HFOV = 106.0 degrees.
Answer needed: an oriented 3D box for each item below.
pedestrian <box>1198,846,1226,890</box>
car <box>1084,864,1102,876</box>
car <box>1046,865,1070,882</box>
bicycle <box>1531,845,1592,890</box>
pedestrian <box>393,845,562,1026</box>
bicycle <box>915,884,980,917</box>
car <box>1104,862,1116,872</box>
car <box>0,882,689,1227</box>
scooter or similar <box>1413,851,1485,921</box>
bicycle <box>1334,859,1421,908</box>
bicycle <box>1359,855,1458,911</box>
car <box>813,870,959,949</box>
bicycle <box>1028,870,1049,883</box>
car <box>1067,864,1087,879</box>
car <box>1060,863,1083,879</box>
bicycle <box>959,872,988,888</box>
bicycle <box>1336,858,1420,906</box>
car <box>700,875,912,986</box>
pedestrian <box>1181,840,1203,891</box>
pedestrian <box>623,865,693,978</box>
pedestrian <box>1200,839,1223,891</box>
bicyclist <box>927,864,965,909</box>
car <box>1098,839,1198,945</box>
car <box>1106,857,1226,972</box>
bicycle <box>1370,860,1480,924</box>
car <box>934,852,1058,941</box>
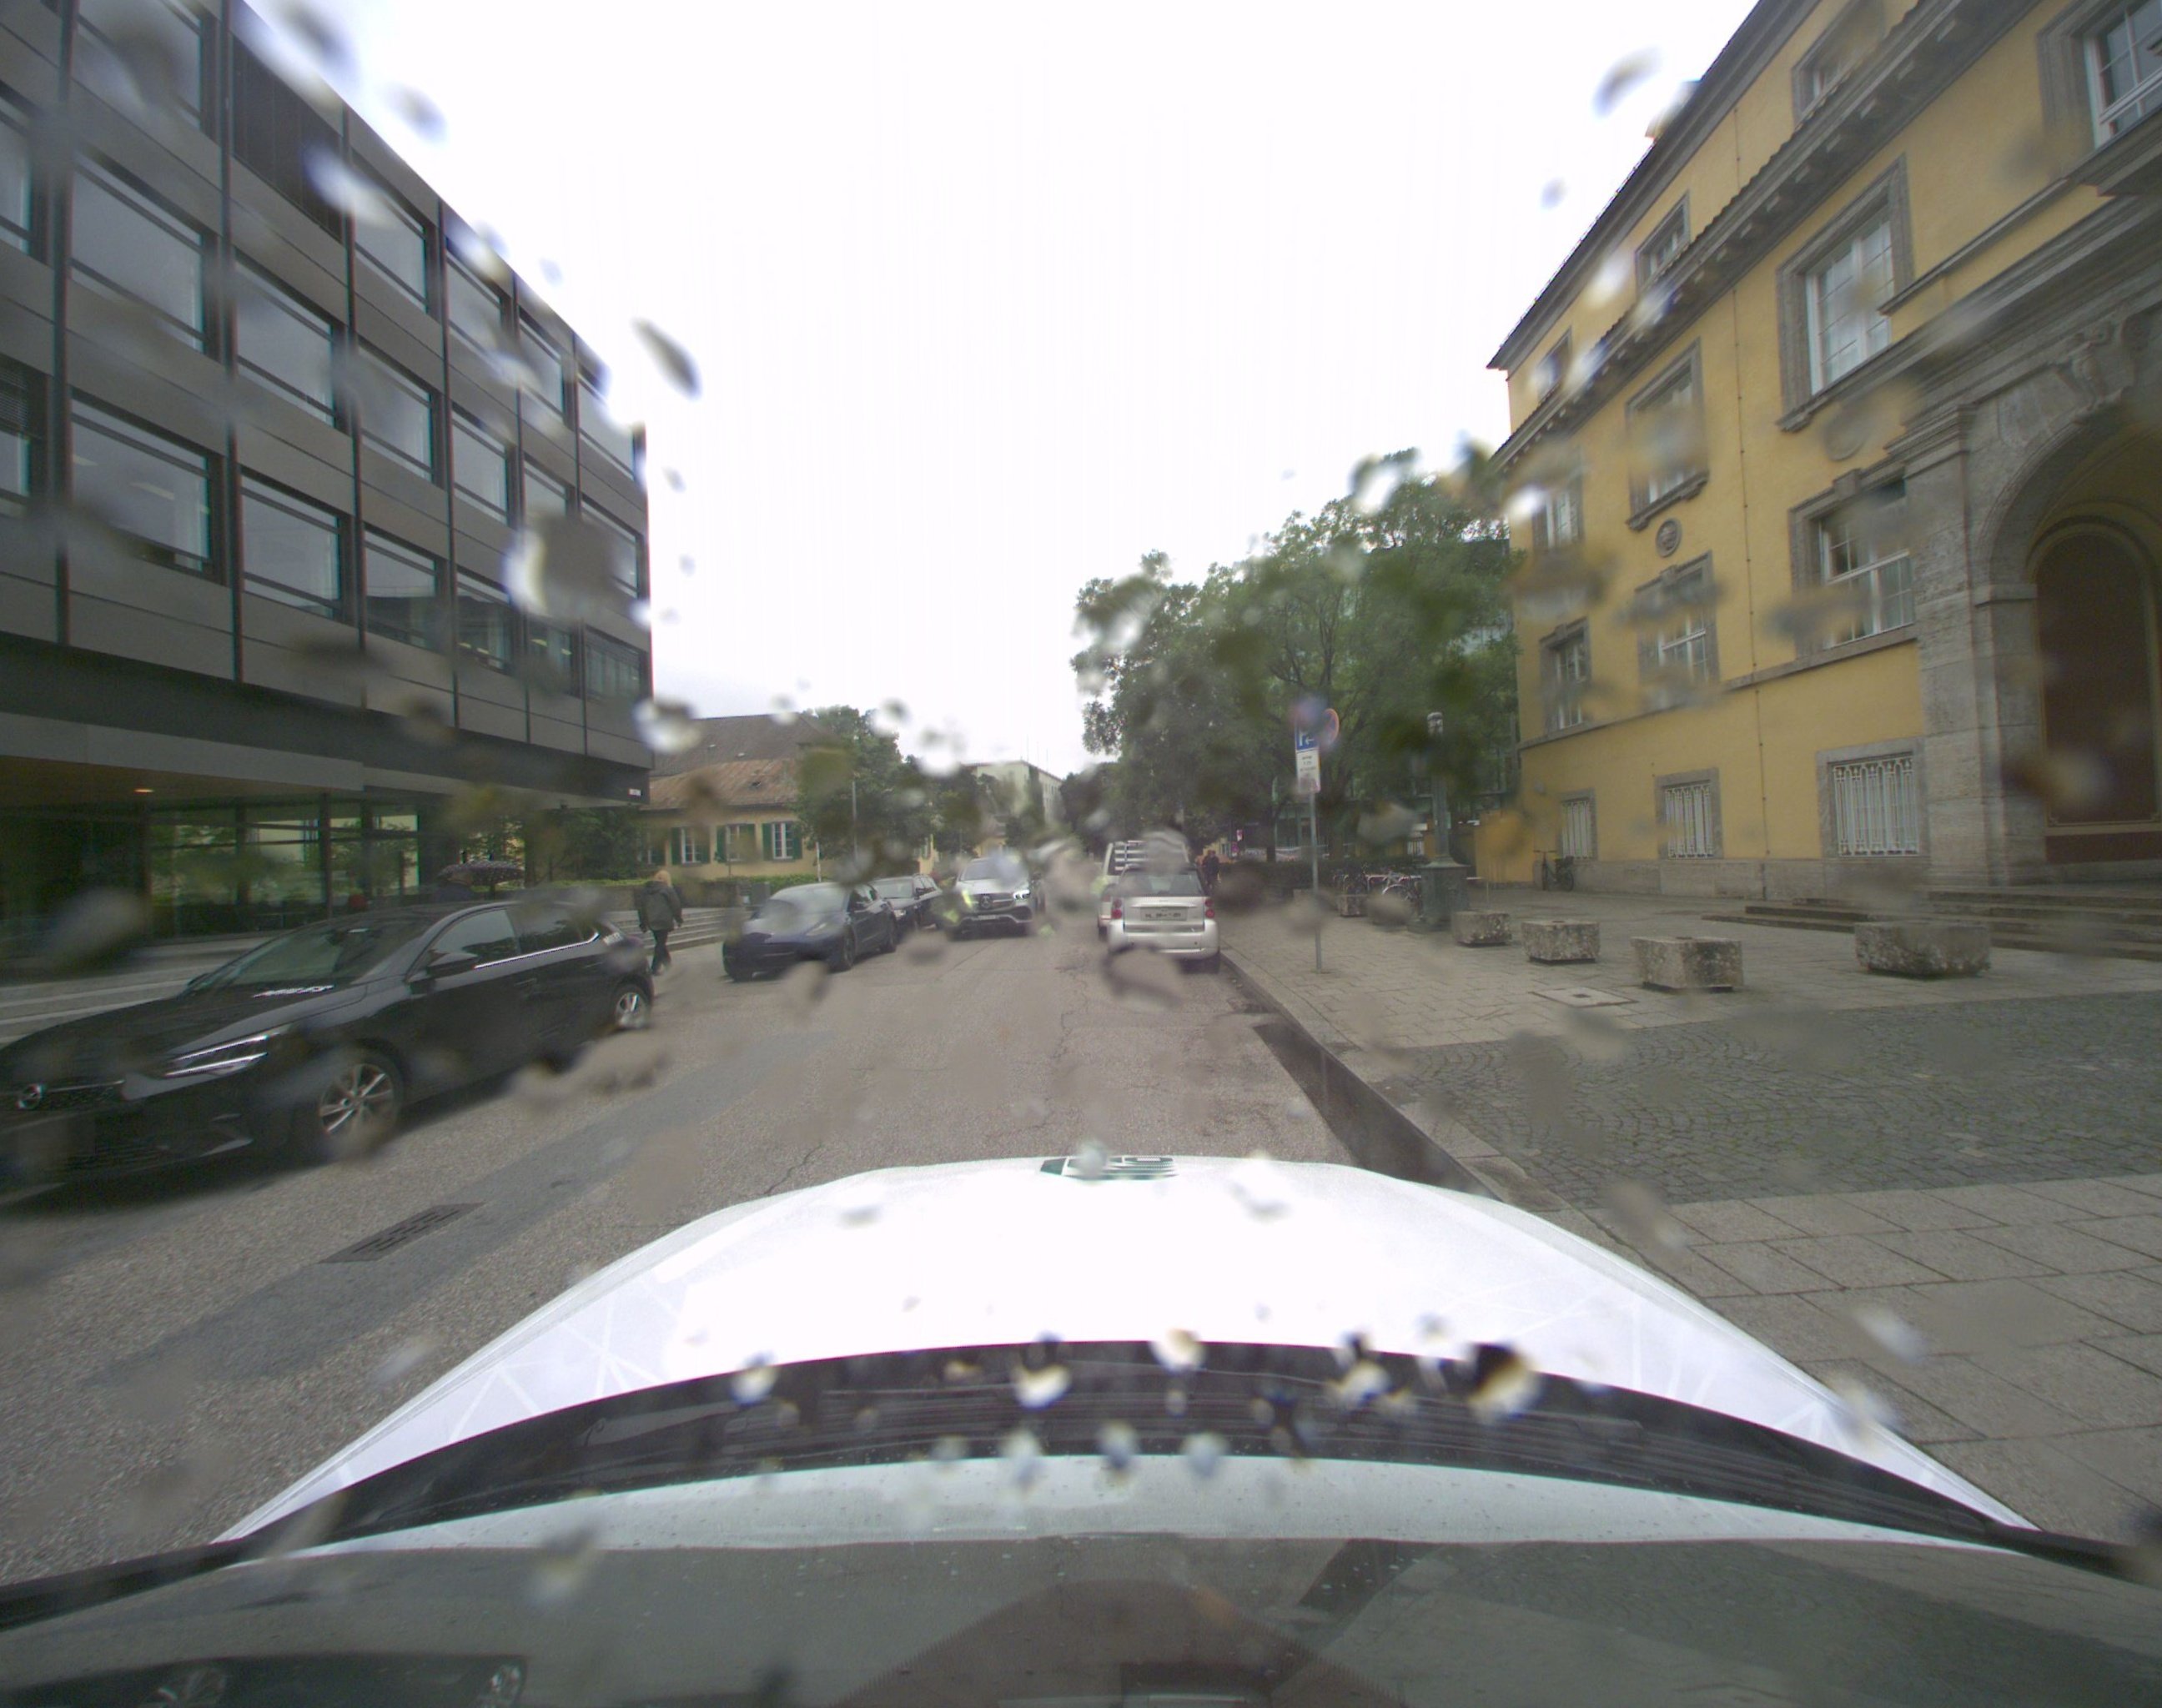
[{"bbox_3d":[5.824,0.615,36.226,0.735,1.907,1.062,-4,-1,37],"label":"pedestrian"},{"bbox_3d":[1.682,2.110,110.917,1.983,1.486,4.007,-3,-1,6],"label":"car"},{"bbox_3d":[-2.113,1.792,75.477,1.725,1.581,3.793,0,-1,5],"label":"car"},{"bbox_3d":[13.142,0.364,22.331,0.540,1.154,1.902,-3,0,1],"label":"bicycle"},{"bbox_3d":[-7.346,0.948,9.993,1.131,2.055,1.221,-1,-1,1],"label":"pedestrian"},{"bbox_3d":[-4.633,1.607,28.373,2.147,1.004,0.617,-1,-3,-31],"label":"bicycle"},{"bbox_3d":[5.045,2.271,142.188,1.802,1.683,4.005,-3,-1,4],"label":"car"},{"bbox_3d":[-4.943,1.061,6.003,1.732,1.461,4.240,-5,-1,3],"label":"car"},{"bbox_3d":[6.732,0.585,14.907,0.541,1.222,1.000,-3,-1,-43],"label":"scooter or similar"},{"bbox_3d":[7.429,0.734,20.445,1.923,1.113,0.472,-4,-1,4],"label":"bicycle"},{"bbox_3d":[7.276,0.637,18.132,1.923,1.113,0.472,-4,-1,4],"label":"bicycle"},{"bbox_3d":[-4.466,1.221,19.561,1.985,1.491,4.887,-4,-1,3],"label":"car"},{"bbox_3d":[-3.697,1.958,71.006,0.615,1.004,2.154,0,0,35],"label":"bicycle"},{"bbox_3d":[-0.461,1.971,93.114,1.985,1.603,4.003,-2,-2,4],"label":"car"},{"bbox_3d":[-0.958,1.789,88.045,1.984,1.648,4.661,-2,-1,5],"label":"car"},{"bbox_3d":[-7.415,1.803,56.215,1.921,1.099,0.615,-1,-1,5],"label":"bicycle"},{"bbox_3d":[7.726,0.722,21.228,1.923,1.113,0.472,-4,-1,3],"label":"bicycle"},{"bbox_3d":[-4.504,1.168,14.296,1.916,1.439,4.917,-4,-1,0],"label":"car"},{"bbox_3d":[4.802,0.494,35.351,0.740,2.135,1.056,-3,-1,1],"label":"pedestrian"},{"bbox_3d":[-6.912,1.076,13.346,0.754,1.749,0.948,-2,-1,-14],"label":"pedestrian"},{"bbox_3d":[5.603,0.478,35.020,0.740,2.135,1.056,-3,-1,1],"label":"pedestrian"},{"bbox_3d":[-4.703,1.125,28.356,1.098,1.498,0.667,-1,-3,-31],"label":"bicyclist"},{"bbox_3d":[1.282,0.725,17.594,1.838,1.933,5.273,0,-1,1],"label":"car"},{"bbox_3d":[1.211,0.836,12.489,1.599,1.546,2.935,0,-1,2],"label":"car"},{"bbox_3d":[6.824,0.745,16.195,1.926,1.113,0.471,-4,-1,-1],"label":"bicycle"},{"bbox_3d":[-1.789,0.884,18.830,2.016,1.689,4.681,-3,-1,3],"label":"car"}]
